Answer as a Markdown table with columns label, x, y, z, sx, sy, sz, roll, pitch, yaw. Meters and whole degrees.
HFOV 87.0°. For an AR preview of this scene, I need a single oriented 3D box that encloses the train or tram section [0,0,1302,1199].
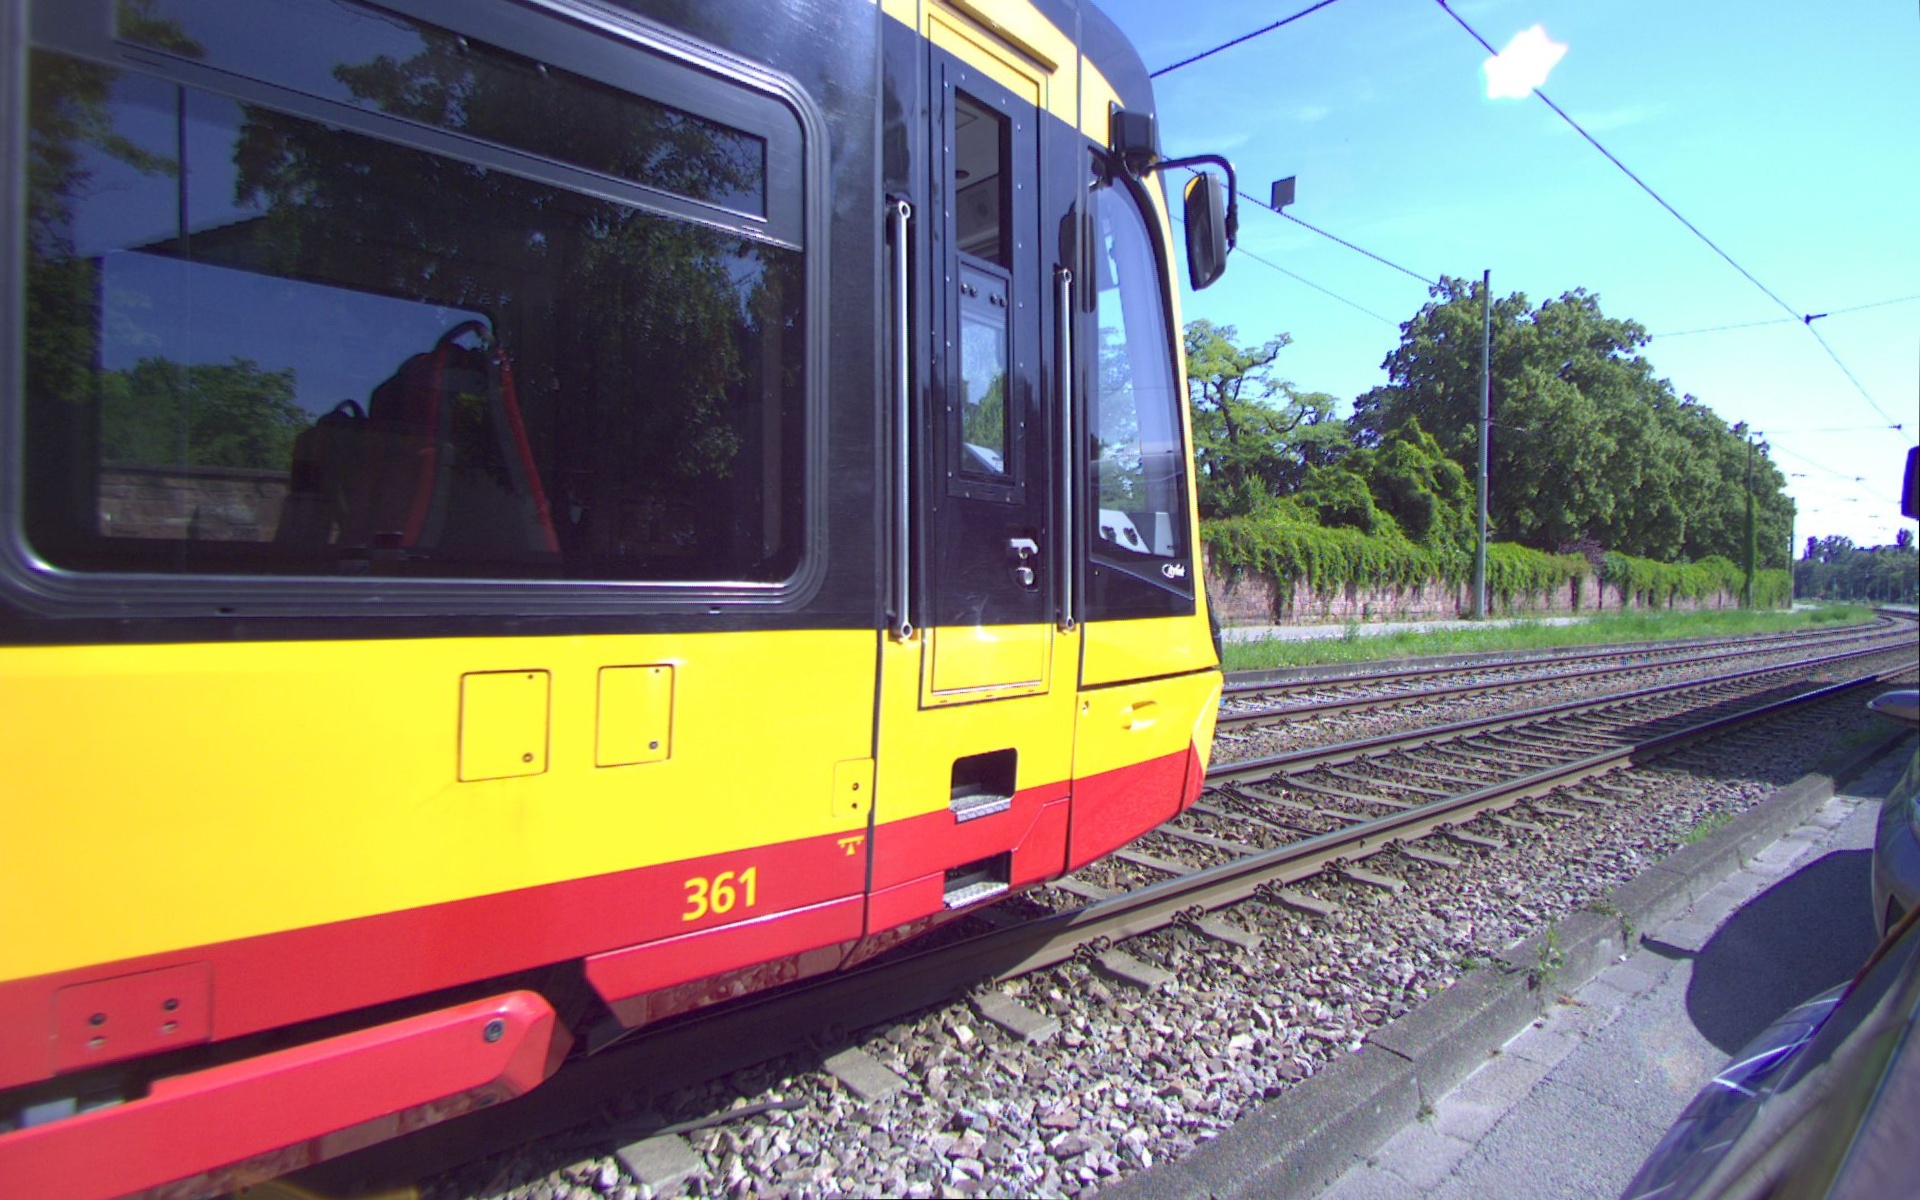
| label | x | y | z | sx | sy | sz | roll | pitch | yaw |
| --- | --- | --- | --- | --- | --- | --- | --- | --- | --- |
| train or tram section | -4.333 | -0.638 | 0.736 | 12.174 | 3.903 | 2.876 | 0 | 2 | -41 |

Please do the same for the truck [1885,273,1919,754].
| label | x | y | z | sx | sy | sz | roll | pitch | yaw |
| --- | --- | --- | --- | --- | --- | --- | --- | --- | --- |
| truck | 14.222 | -0.660 | 12.067 | 14.652 | 3.927 | 2.934 | 0 | 2 | -41 |

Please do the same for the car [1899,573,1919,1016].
| label | x | y | z | sx | sy | sz | roll | pitch | yaw |
| --- | --- | --- | --- | --- | --- | --- | --- | --- | --- |
| car | 5.112 | 0.666 | 4.019 | 3.930 | 1.448 | 1.573 | 0 | 2 | -41 |
